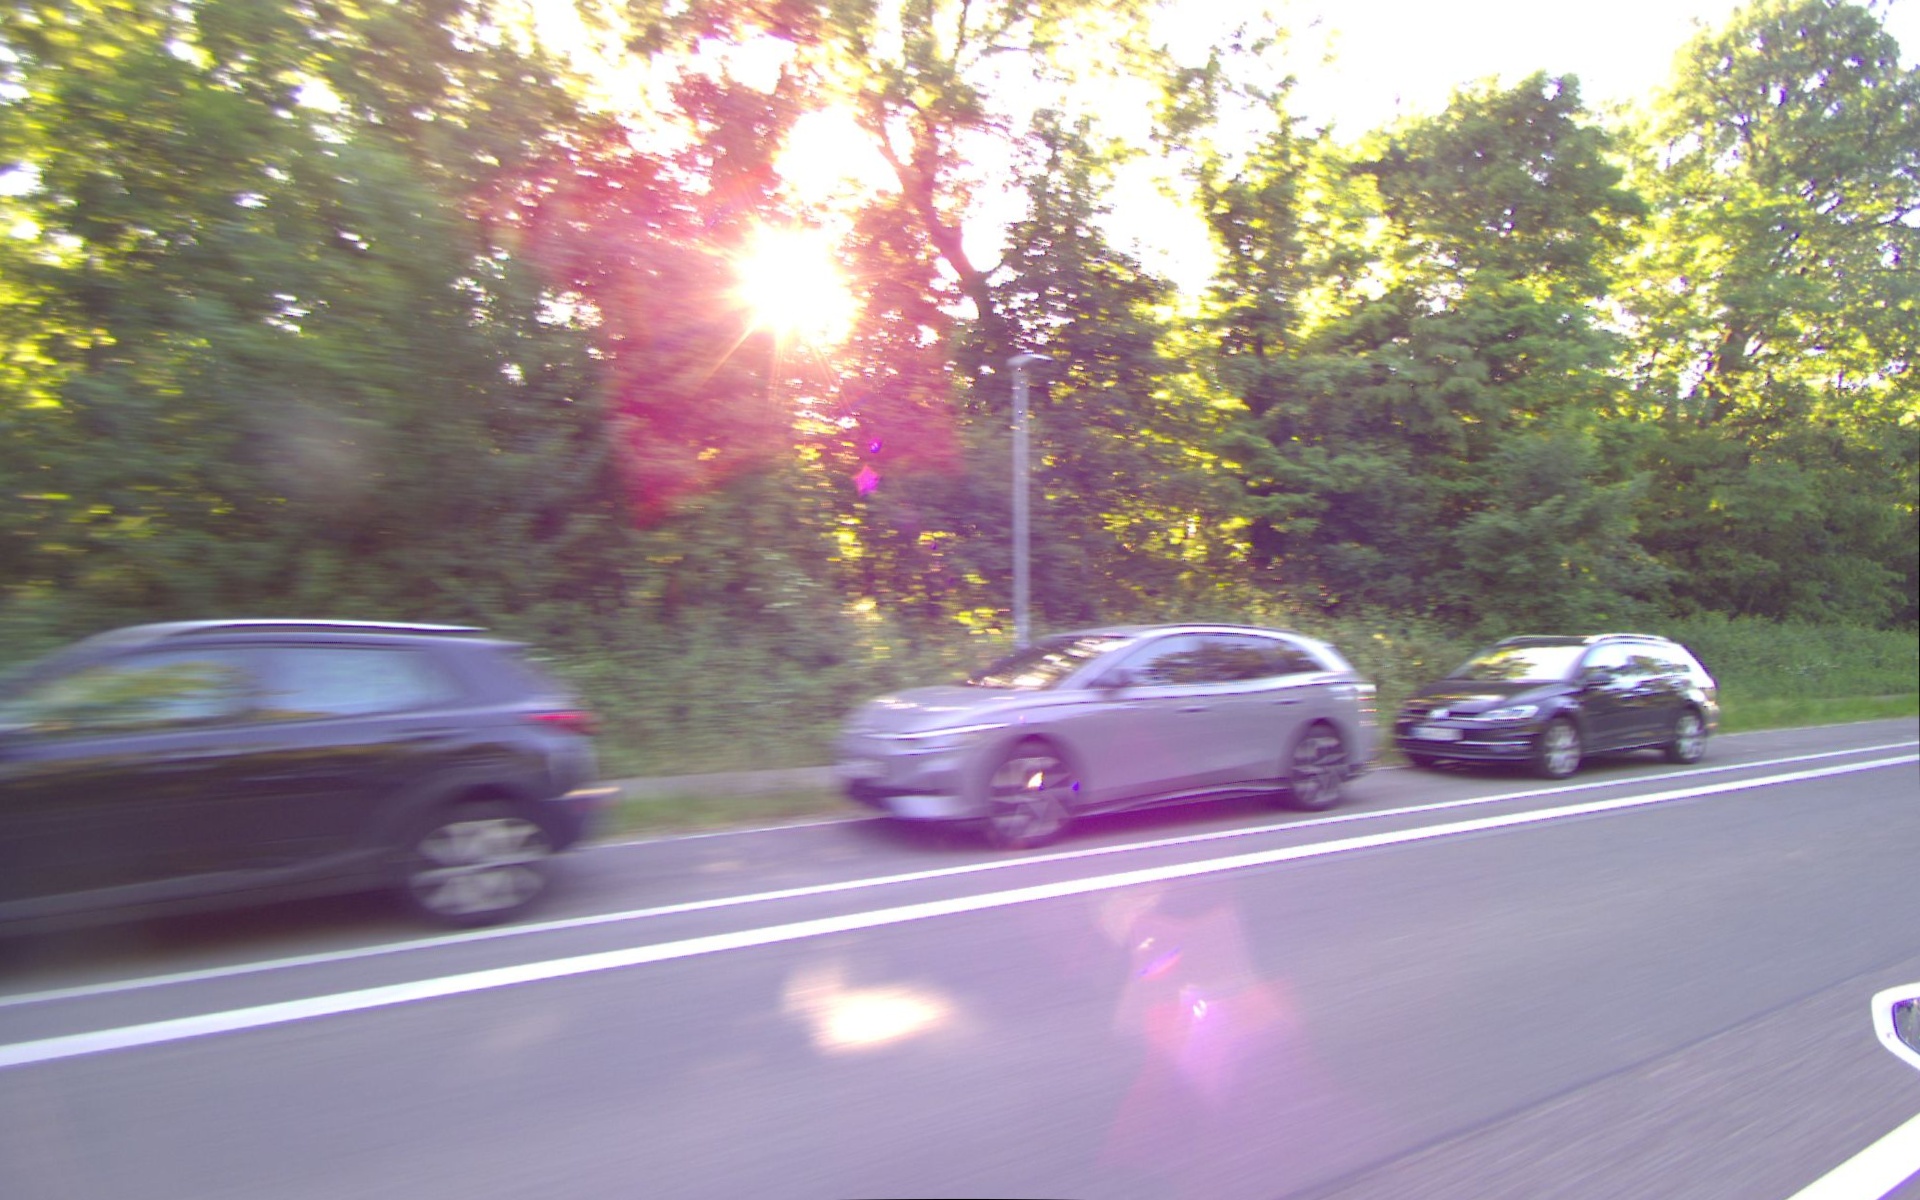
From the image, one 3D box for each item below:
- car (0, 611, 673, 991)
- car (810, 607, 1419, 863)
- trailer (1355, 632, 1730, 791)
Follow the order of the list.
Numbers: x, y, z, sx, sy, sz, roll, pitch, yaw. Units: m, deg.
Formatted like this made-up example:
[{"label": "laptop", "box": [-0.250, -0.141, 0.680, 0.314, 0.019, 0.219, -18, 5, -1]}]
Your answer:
[{"label": "car", "box": [-3.739, 0.872, 5.062, 4.145, 1.514, 1.664, 2, -4, -30]}, {"label": "car", "box": [1.431, 0.963, 8.311, 5.066, 1.594, 1.664, 2, -4, -30]}, {"label": "trailer", "box": [6.810, 1.150, 11.639, 4.414, 1.485, 1.832, 1, 0, -30]}]
